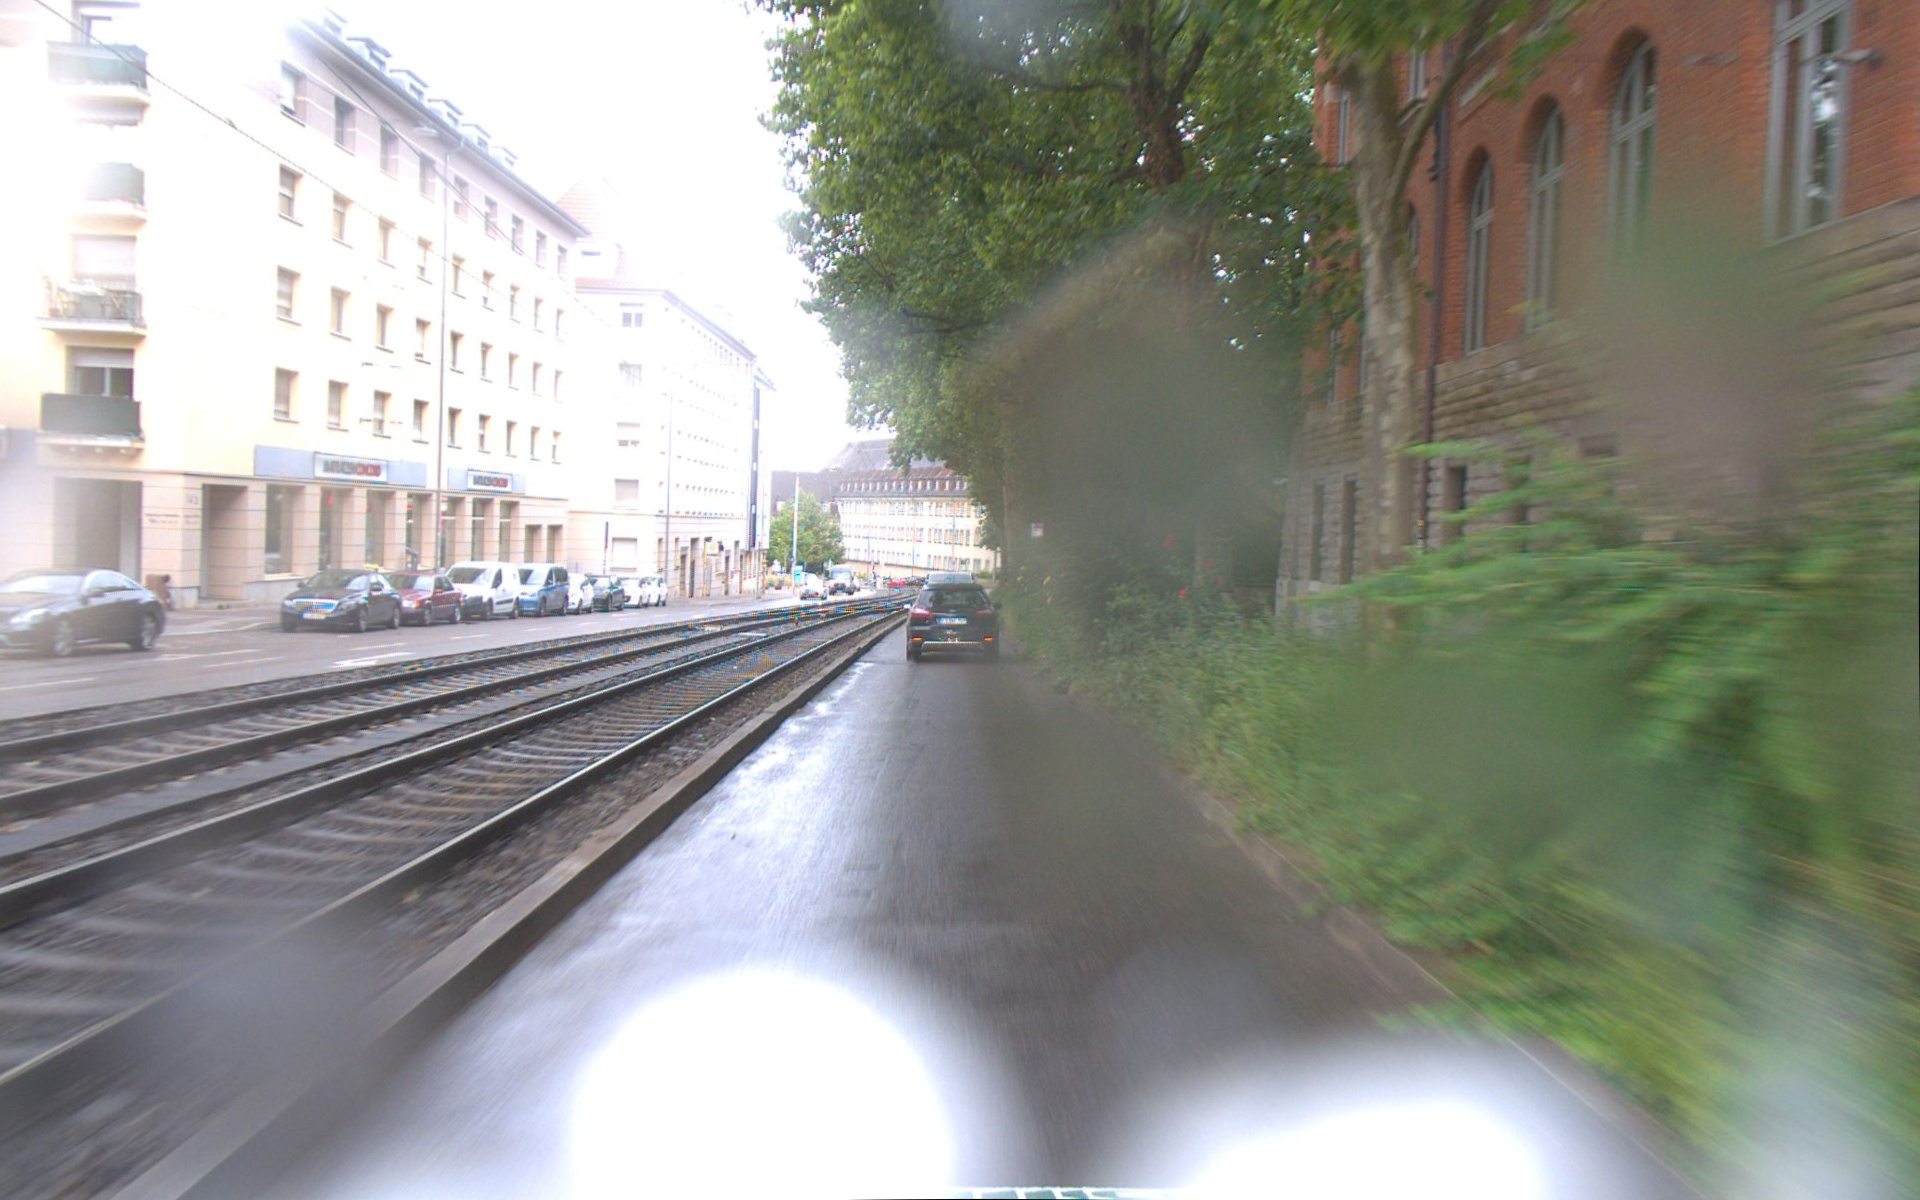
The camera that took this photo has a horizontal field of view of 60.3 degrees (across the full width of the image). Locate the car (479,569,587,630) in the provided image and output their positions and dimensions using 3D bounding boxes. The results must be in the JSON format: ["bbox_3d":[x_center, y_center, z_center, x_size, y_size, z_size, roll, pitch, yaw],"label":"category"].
[{"bbox_3d":[-14.882,-0.053,57.976,1.952,1.938,5.462,3,1,4],"label":"car"}]

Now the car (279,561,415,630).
[{"bbox_3d":[-14.963,-0.139,40.660,1.815,1.534,4.987,1,1,-5],"label":"car"}]

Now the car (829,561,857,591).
[{"bbox_3d":[-10.293,-2.068,145.946,1.952,2.494,5.999,1,0,1],"label":"car"}]

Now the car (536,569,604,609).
[{"bbox_3d":[-14.900,-0.441,63.367,1.657,1.464,4.049,1,1,-1],"label":"car"}]

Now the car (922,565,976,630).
[{"bbox_3d":[-0.397,-0.115,55.586,1.705,2.049,3.903,2,1,-2],"label":"car"}]

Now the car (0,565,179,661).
[{"bbox_3d":[-14.744,0.154,27.213,1.645,1.420,4.622,1,1,-1],"label":"car"}]

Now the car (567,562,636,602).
[{"bbox_3d":[-14.791,-0.758,68.443,1.776,1.525,4.583,3,1,0],"label":"car"}]

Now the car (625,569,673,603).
[{"bbox_3d":[-15.087,-0.693,80.374,1.674,1.475,3.541,4,1,-2],"label":"car"}]

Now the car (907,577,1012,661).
[{"bbox_3d":[-0.071,0.332,32.875,1.894,1.478,4.316,2,1,-2],"label":"car"}]

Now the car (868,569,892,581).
[{"bbox_3d":[-11.388,-3.567,235.409,1.969,1.569,3.967,0,1,-26],"label":"car"}]

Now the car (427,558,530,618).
[{"bbox_3d":[-15.084,-0.384,52.039,1.829,1.747,4.461,1,1,1],"label":"car"}]

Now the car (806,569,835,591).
[{"bbox_3d":[-10.088,-1.453,119.901,1.676,1.488,4.281,1,1,1],"label":"car"}]

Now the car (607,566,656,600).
[{"bbox_3d":[-15.008,-0.779,75.694,1.670,1.421,3.932,3,1,-4],"label":"car"}]

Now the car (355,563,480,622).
[{"bbox_3d":[-15.081,-0.225,46.231,1.813,1.457,4.832,3,1,0],"label":"car"}]
